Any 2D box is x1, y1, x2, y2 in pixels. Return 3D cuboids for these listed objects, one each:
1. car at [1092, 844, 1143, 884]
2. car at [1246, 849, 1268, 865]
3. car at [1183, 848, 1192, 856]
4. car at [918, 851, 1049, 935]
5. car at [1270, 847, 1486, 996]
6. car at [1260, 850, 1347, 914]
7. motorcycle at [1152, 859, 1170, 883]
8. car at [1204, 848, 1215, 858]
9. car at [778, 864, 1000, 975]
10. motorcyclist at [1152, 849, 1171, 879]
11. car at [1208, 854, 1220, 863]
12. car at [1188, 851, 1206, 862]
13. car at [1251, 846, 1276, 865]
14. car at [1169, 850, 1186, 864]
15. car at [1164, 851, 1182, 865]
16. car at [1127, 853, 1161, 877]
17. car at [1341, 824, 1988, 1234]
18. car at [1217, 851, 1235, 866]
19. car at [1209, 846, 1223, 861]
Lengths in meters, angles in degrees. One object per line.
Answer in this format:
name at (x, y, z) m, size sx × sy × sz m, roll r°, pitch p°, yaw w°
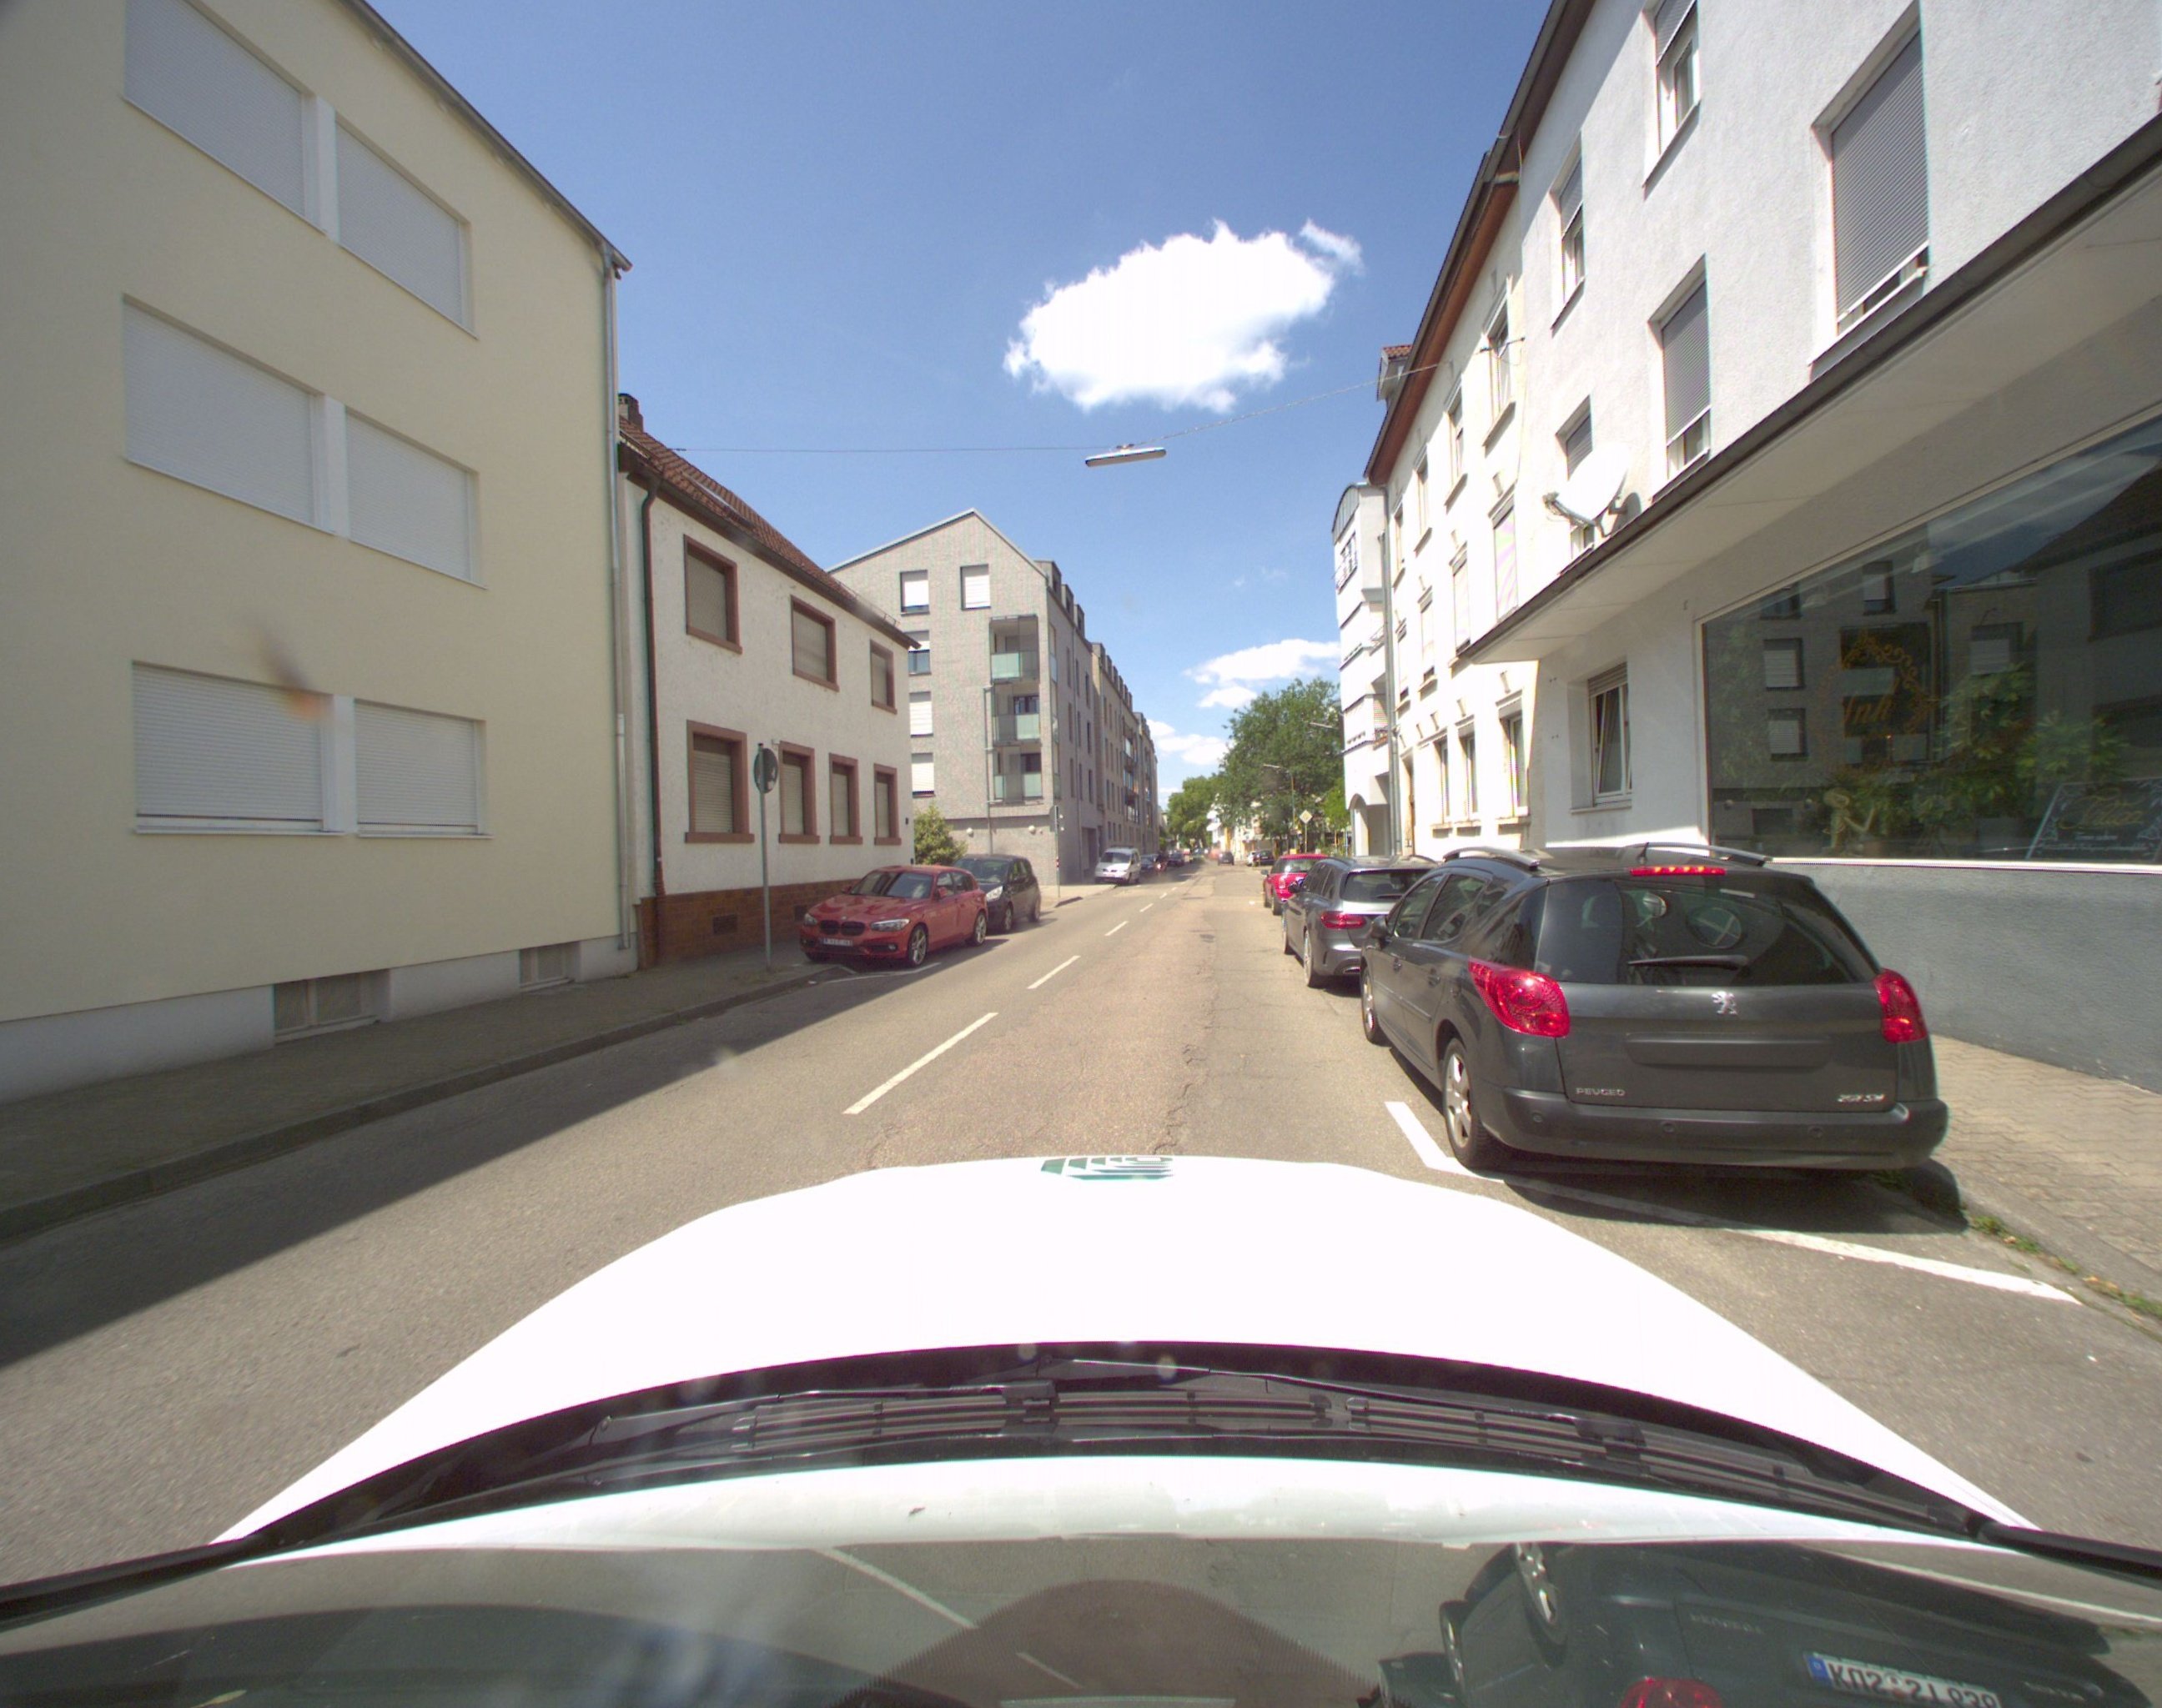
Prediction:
car at (1.909, 0.463, 40.923) m, size 1.745 × 1.892 × 4.352 m, roll 0°, pitch 1°, yaw 13°
car at (16.410, 0.258, 76.061) m, size 1.768 × 1.420 × 4.010 m, roll -3°, pitch 0°, yaw 8°
car at (29.568, -0.502, 225.944) m, size 2.144 × 2.013 × 4.010 m, roll -3°, pitch 0°, yaw 8°
car at (-2.045, 0.793, 18.309) m, size 1.783 × 1.646 × 3.956 m, roll -1°, pitch 0°, yaw 10°
car at (3.444, 0.663, 10.307) m, size 1.719 × 1.420 × 4.557 m, roll -2°, pitch 0°, yaw 9°
car at (5.442, 0.641, 20.305) m, size 1.609 × 1.385 × 3.547 m, roll -2°, pitch 0°, yaw 8°
motorcycle at (4.096, 0.842, 41.462) m, size 0.683 × 1.122 × 2.034 m, roll -3°, pitch 0°, yaw 11°
car at (22.079, -0.145, 139.541) m, size 1.701 × 1.634 × 3.712 m, roll -3°, pitch 0°, yaw 8°
car at (-2.907, 0.944, 13.437) m, size 1.821 × 1.416 × 4.304 m, roll -2°, pitch 0°, yaw 12°
motorcyclist at (4.116, 0.503, 41.572) m, size 0.817 × 1.509 × 1.060 m, roll -3°, pitch 0°, yaw 10°
car at (24.843, 0.863, 152.031) m, size 1.983 × 1.618 × 4.007 m, roll -2°, pitch 0°, yaw 6°
car at (14.977, 0.335, 104.667) m, size 1.980 × 1.381 × 4.407 m, roll -1°, pitch 0°, yaw 12°
car at (15.597, 0.092, 69.849) m, size 1.682 × 1.420 × 4.010 m, roll -5°, pitch -1°, yaw 8°
car at (11.071, 0.347, 93.200) m, size 1.722 × 1.442 × 4.010 m, roll -3°, pitch 0°, yaw 9°
car at (10.004, 0.427, 88.132) m, size 1.722 × 1.442 × 4.010 m, roll -3°, pitch 0°, yaw 9°
car at (4.137, 0.668, 53.143) m, size 1.712 × 1.456 × 4.017 m, roll -1°, pitch 0°, yaw 11°
car at (2.822, 0.664, 5.110) m, size 1.699 × 1.508 × 4.012 m, roll -2°, pitch 0°, yaw 10°
car at (15.275, 0.468, 85.934) m, size 1.705 × 1.402 × 4.011 m, roll -3°, pitch 0°, yaw 10°
car at (19.627, -0.130, 118.217) m, size 1.827 × 2.013 × 4.012 m, roll -3°, pitch 0°, yaw 10°
